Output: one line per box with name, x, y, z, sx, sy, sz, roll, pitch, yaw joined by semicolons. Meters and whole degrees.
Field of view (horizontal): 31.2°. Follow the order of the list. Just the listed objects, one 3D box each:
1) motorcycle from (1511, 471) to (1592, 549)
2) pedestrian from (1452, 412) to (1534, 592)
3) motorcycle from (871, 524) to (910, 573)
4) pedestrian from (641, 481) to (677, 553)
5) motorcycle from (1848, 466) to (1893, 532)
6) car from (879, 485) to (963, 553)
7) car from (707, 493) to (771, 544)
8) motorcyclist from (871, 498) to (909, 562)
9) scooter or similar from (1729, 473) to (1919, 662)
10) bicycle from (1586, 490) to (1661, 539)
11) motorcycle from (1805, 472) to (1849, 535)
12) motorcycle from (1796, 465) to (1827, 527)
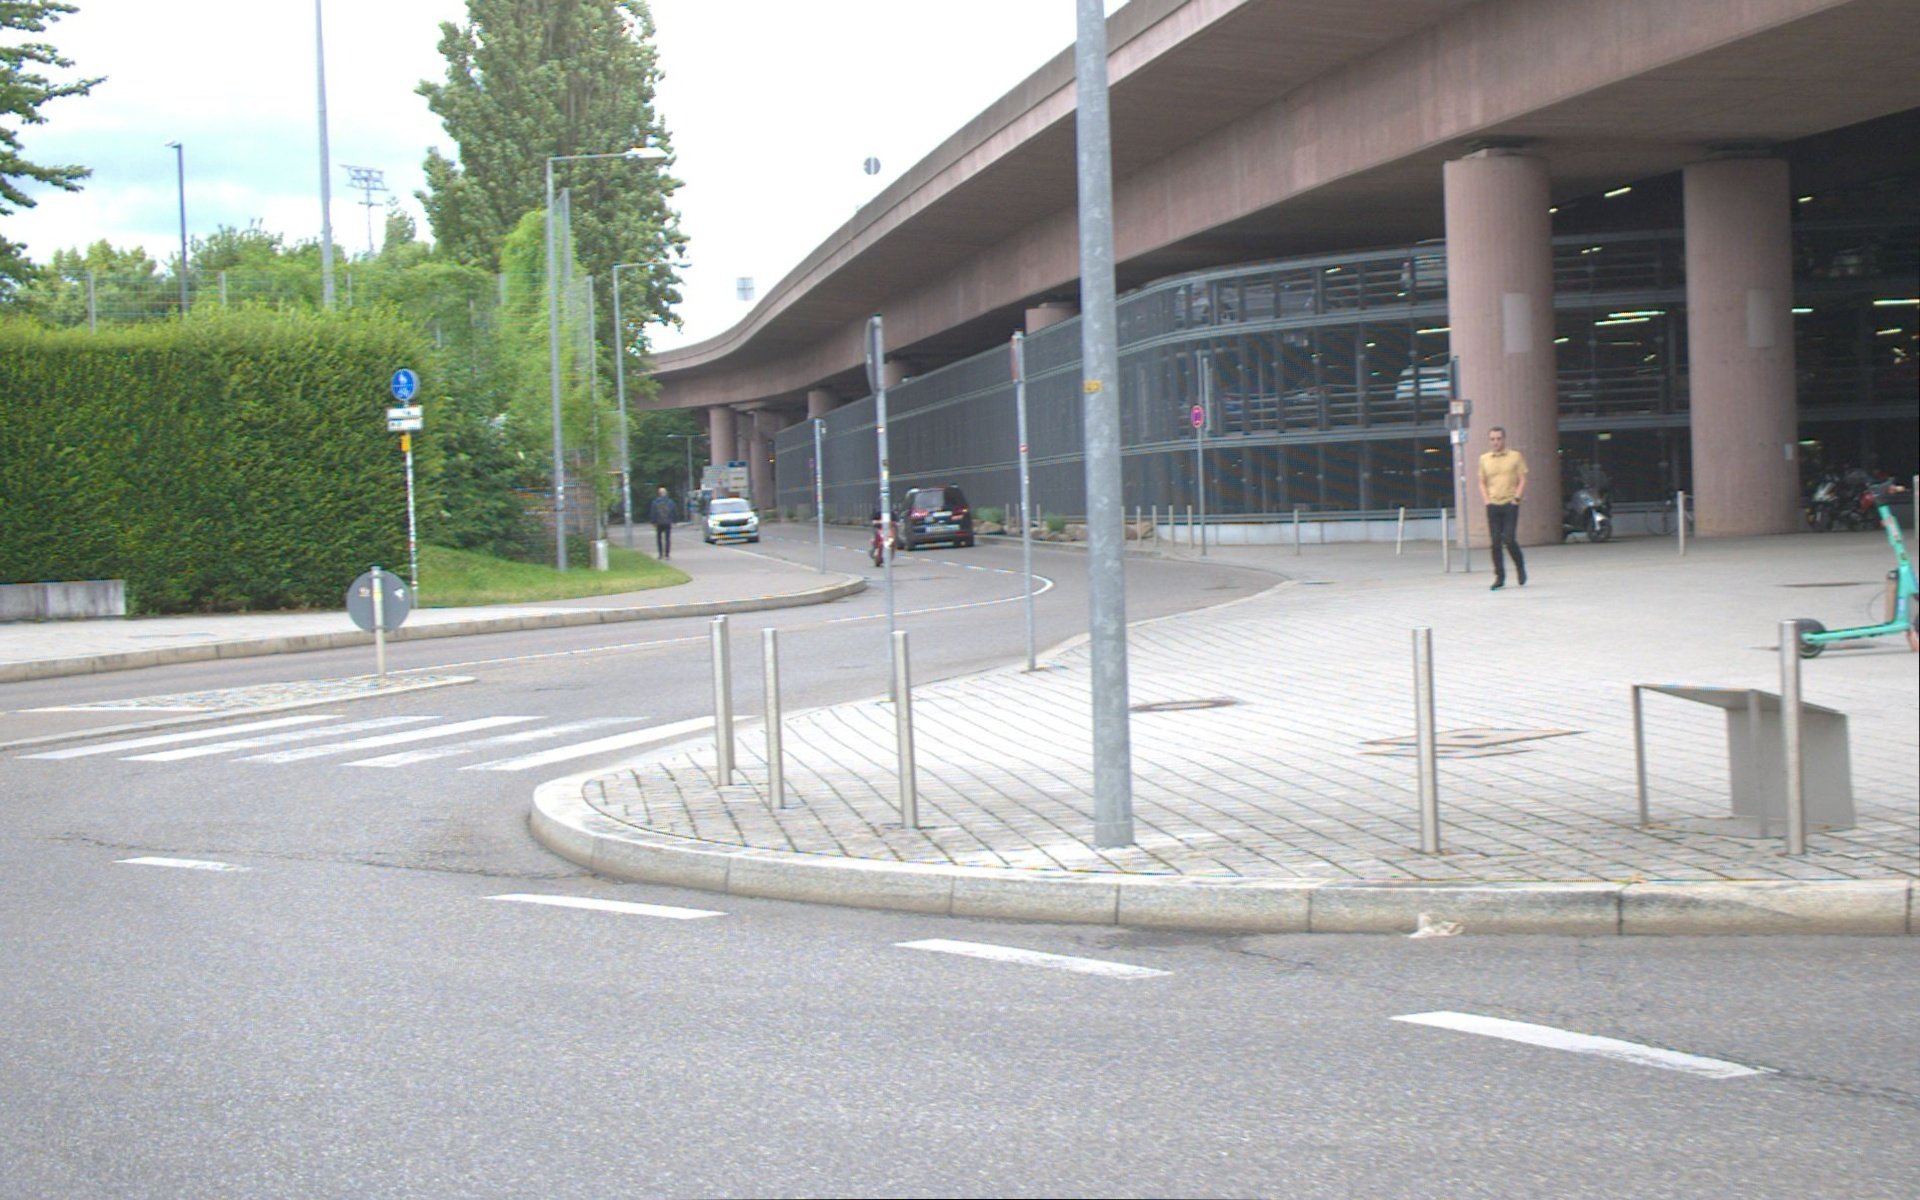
motorcycle;11.377;-1.732;66.149;0.642;1.450;1.763;-4;3;-23
pedestrian;6.088;-1.134;39.302;0.782;2.006;1.039;-2;3;5
motorcycle;-1.582;-1.185;78.189;0.746;1.019;1.957;-3;3;-4
pedestrian;-7.602;-2.095;86.872;0.803;1.774;0.920;-3;3;-4
motorcycle;18.183;-2.025;68.695;0.830;1.215;2.078;-2;3;15
car;-1.091;-2.236;94.383;1.839;1.705;3.707;-3;3;-7
car;-8.146;-3.017;126.547;1.864;1.677;4.407;-3;3;-9
motorcyclist;-1.591;-1.594;78.113;0.761;1.414;0.870;-3;3;-4
scooter or similar;6.431;-0.244;24.830;1.644;1.291;0.518;-2;3;8
bicycle;13.827;-1.785;71.644;1.473;0.973;0.451;-1;3;19
motorcycle;16.498;-1.828;65.399;0.521;1.167;1.148;-1;1;29
motorcycle;17.173;-2.102;69.350;0.520;1.215;1.150;-2;3;11
